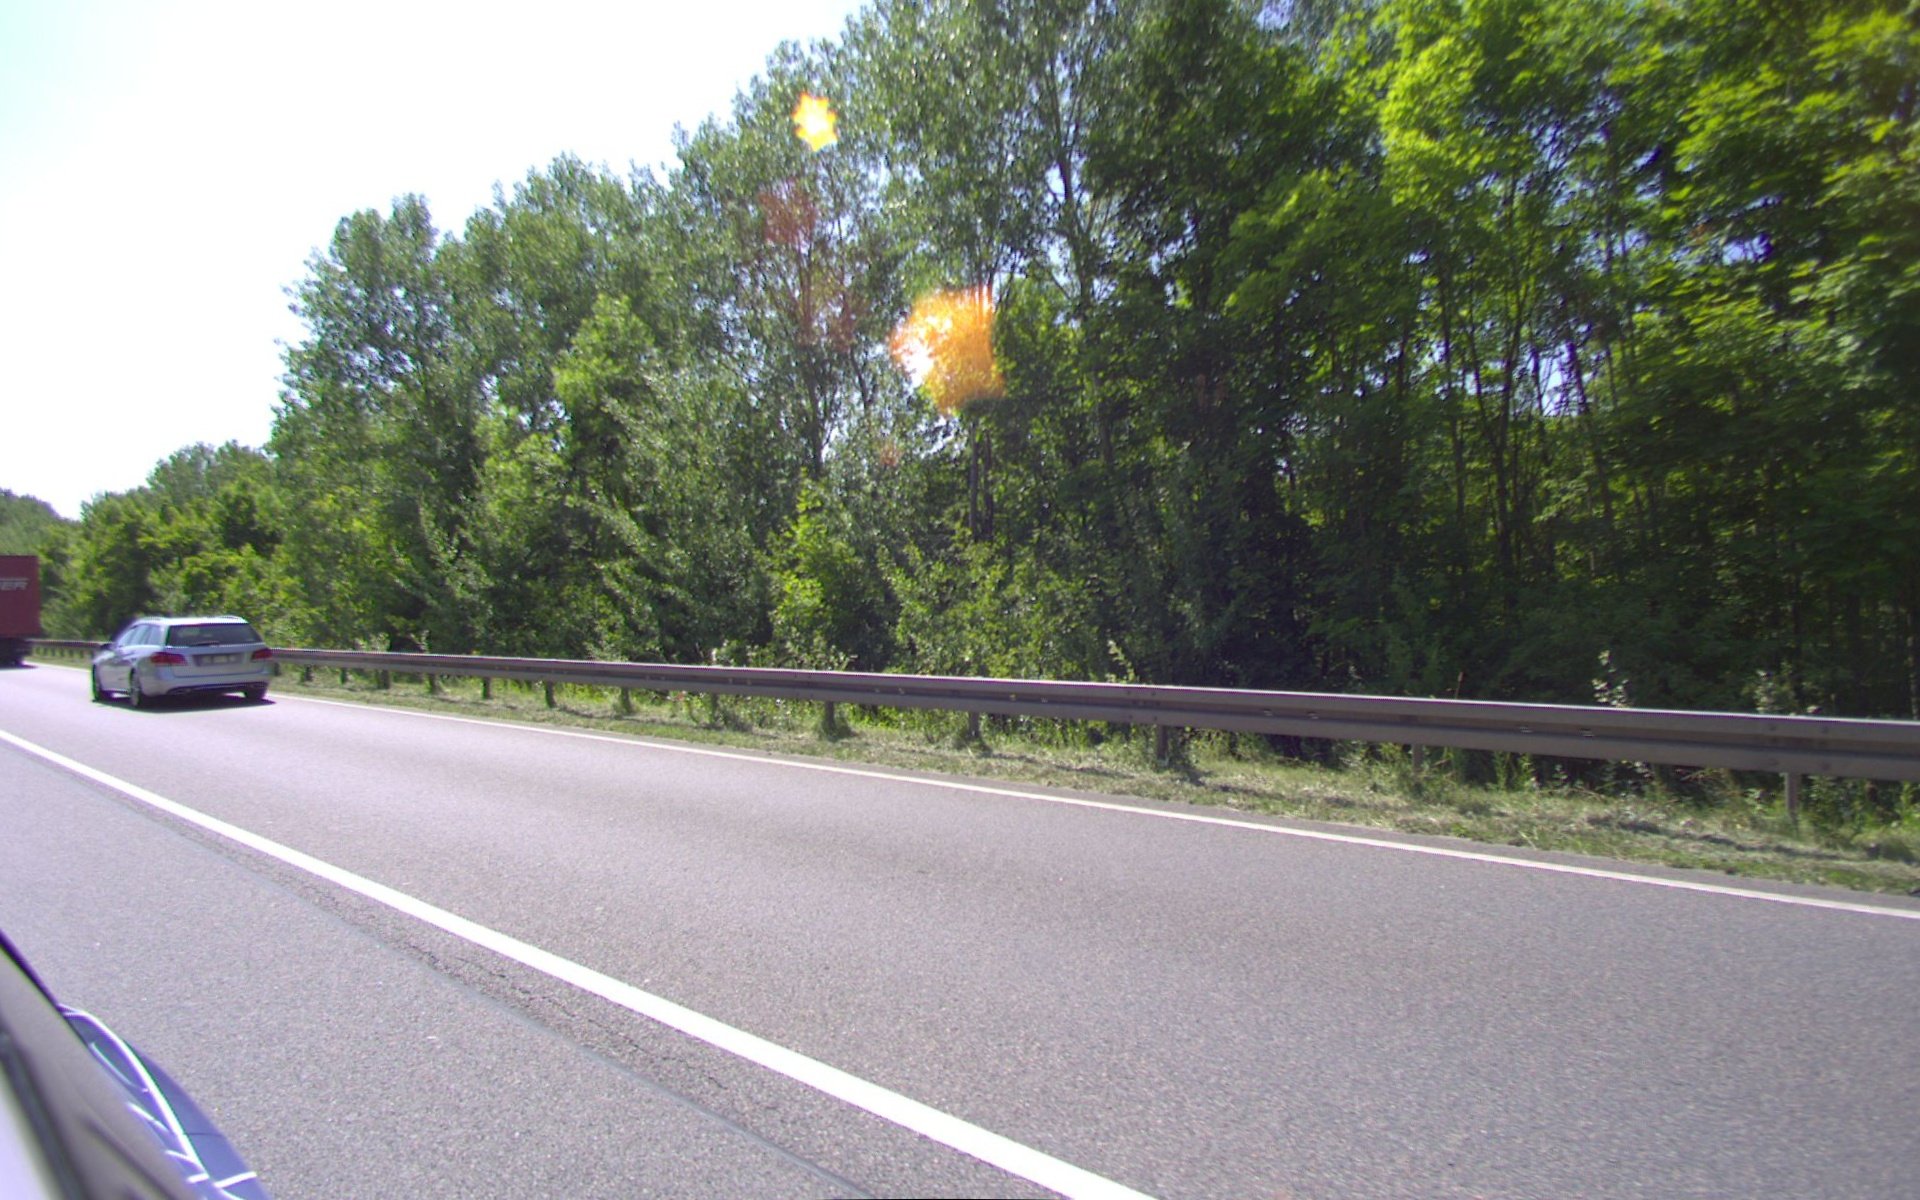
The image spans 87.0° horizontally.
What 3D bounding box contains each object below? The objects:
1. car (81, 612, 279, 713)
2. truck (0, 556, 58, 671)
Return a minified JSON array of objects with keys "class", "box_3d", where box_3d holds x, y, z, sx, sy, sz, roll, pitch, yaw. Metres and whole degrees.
[{"class":"car","box_3d":[-13.904,1.022,17.947,4.522,1.558,1.800,-1,0,39]},{"class":"truck","box_3d":[-34.575,0.534,35.559,9.001,3.728,3.159,-2,-1,41]}]
